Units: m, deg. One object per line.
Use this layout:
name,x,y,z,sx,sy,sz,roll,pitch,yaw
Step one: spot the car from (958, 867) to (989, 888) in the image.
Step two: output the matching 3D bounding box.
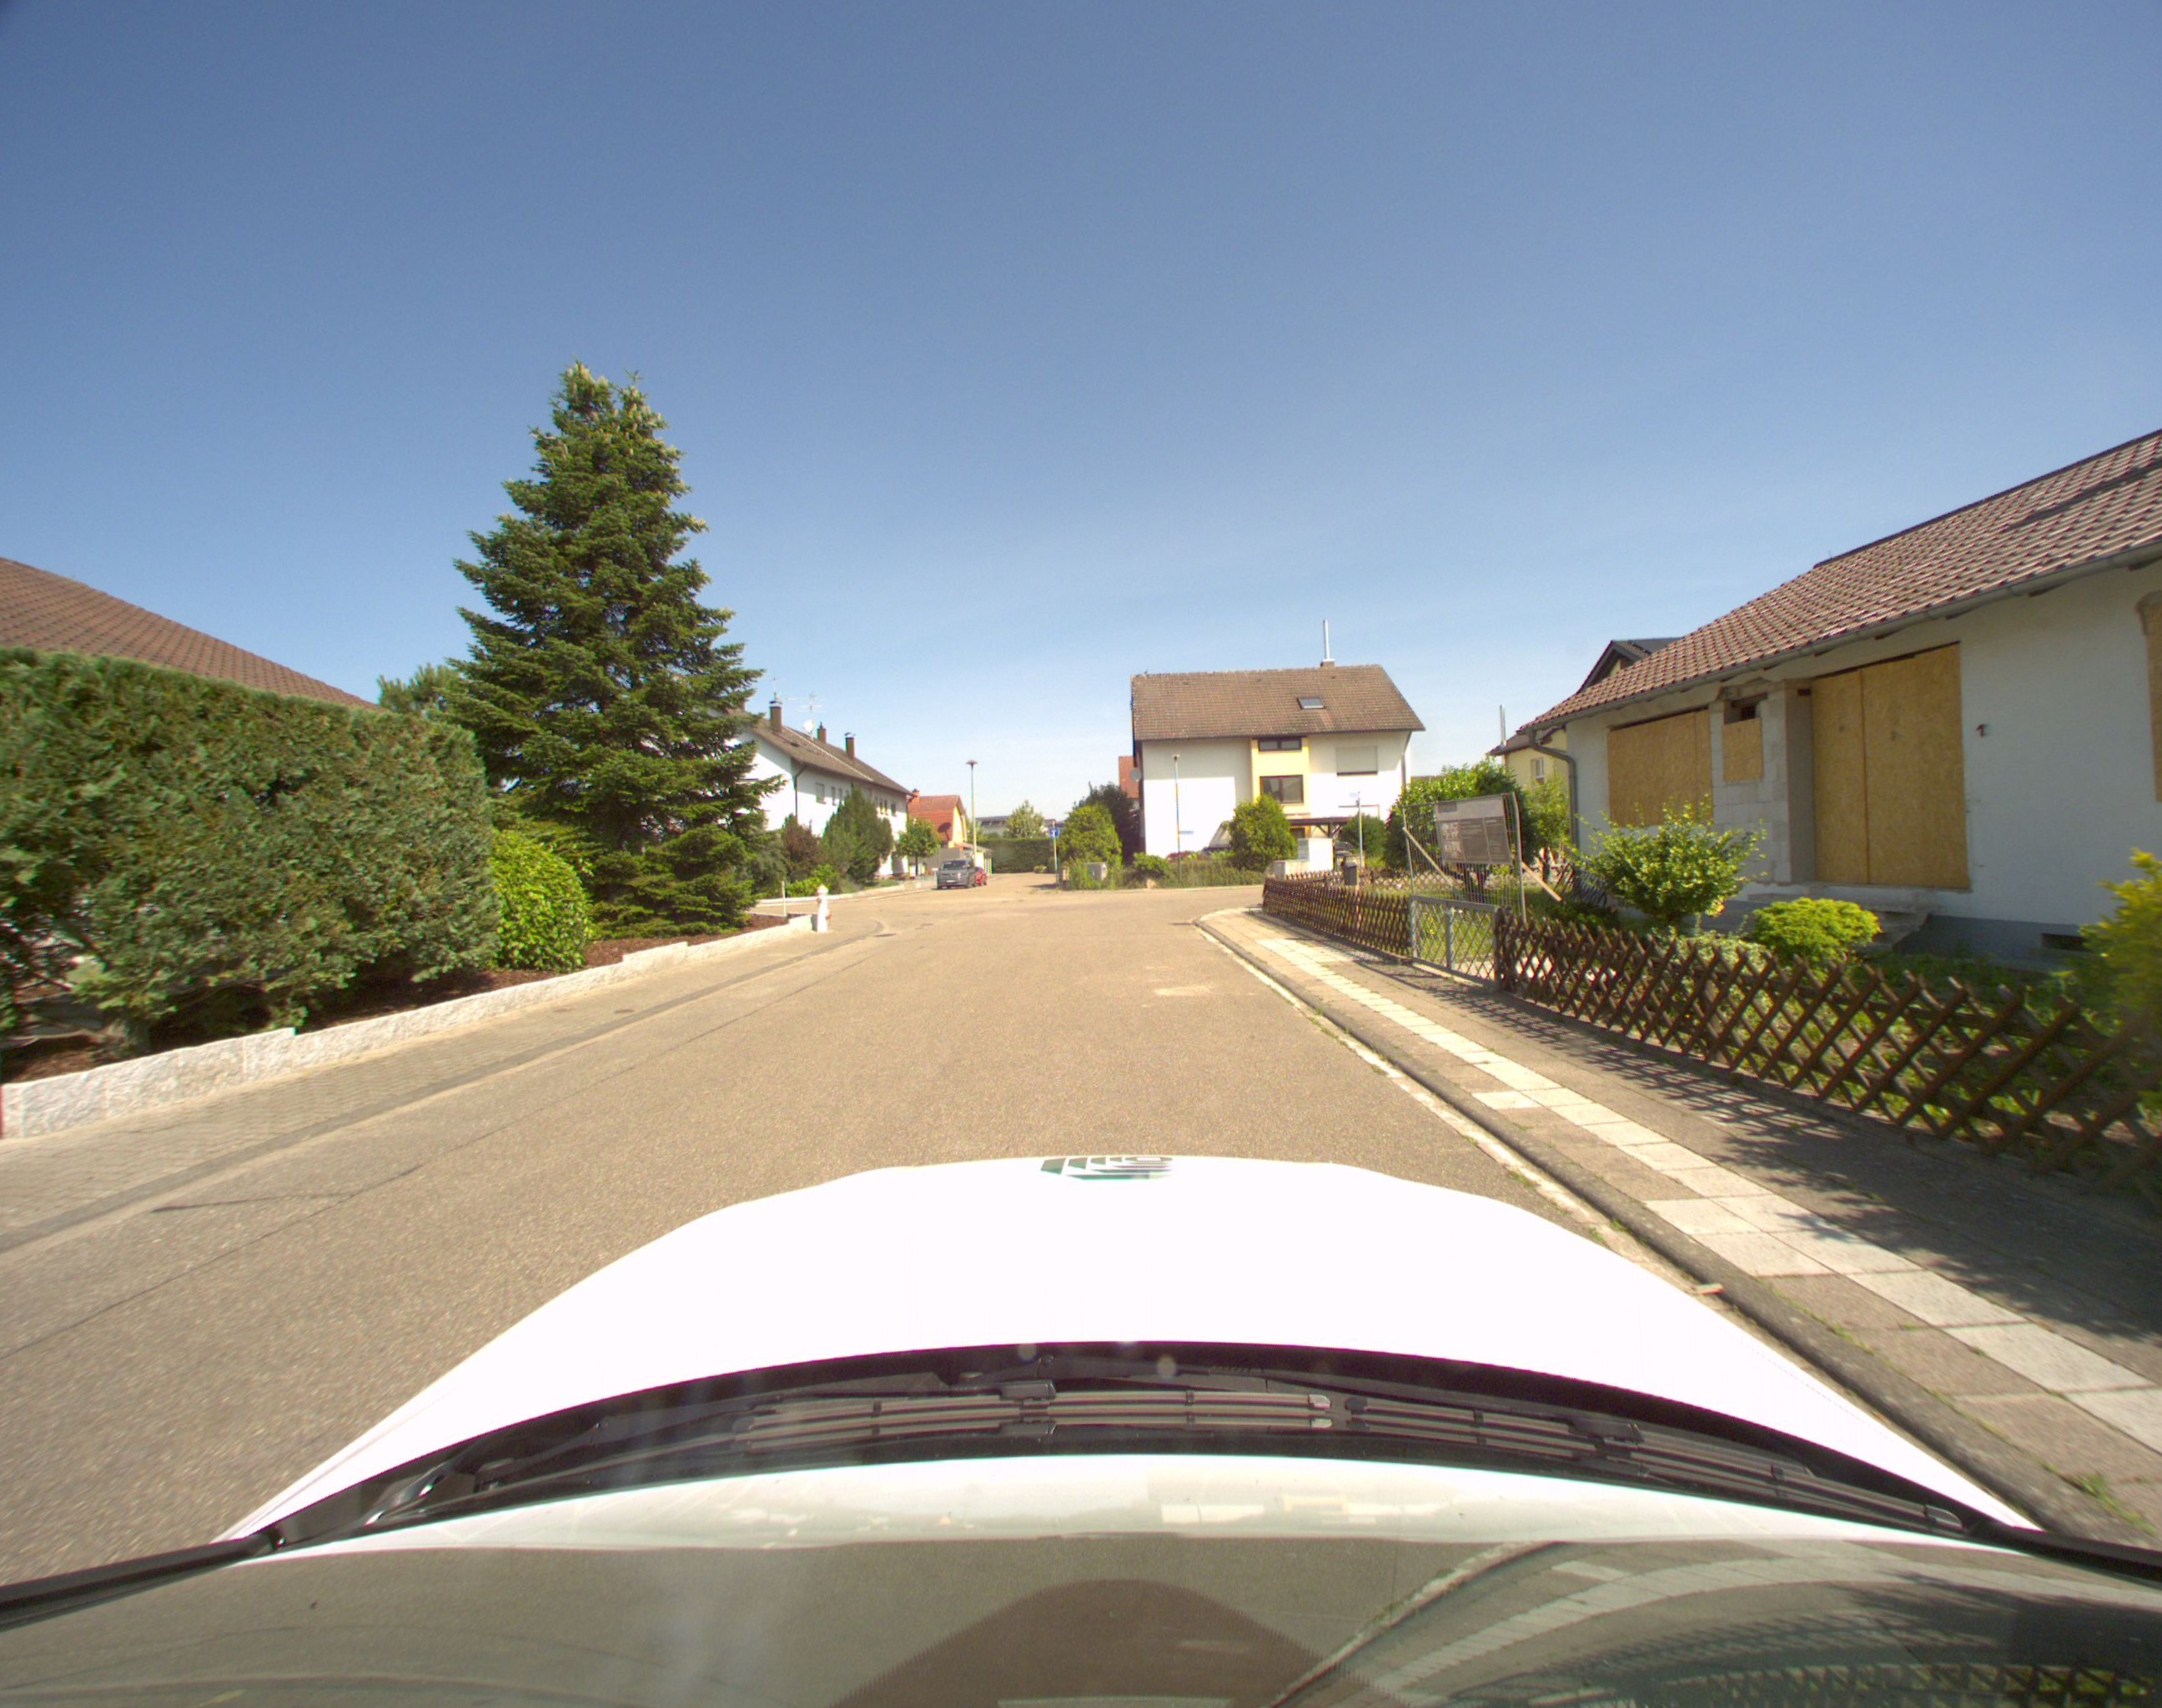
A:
car,-7.692,1.677,58.289,1.646,1.365,3.778,-2,0,0

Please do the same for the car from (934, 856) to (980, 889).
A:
car,-7.808,1.135,51.682,1.893,1.870,4.375,-3,0,3
